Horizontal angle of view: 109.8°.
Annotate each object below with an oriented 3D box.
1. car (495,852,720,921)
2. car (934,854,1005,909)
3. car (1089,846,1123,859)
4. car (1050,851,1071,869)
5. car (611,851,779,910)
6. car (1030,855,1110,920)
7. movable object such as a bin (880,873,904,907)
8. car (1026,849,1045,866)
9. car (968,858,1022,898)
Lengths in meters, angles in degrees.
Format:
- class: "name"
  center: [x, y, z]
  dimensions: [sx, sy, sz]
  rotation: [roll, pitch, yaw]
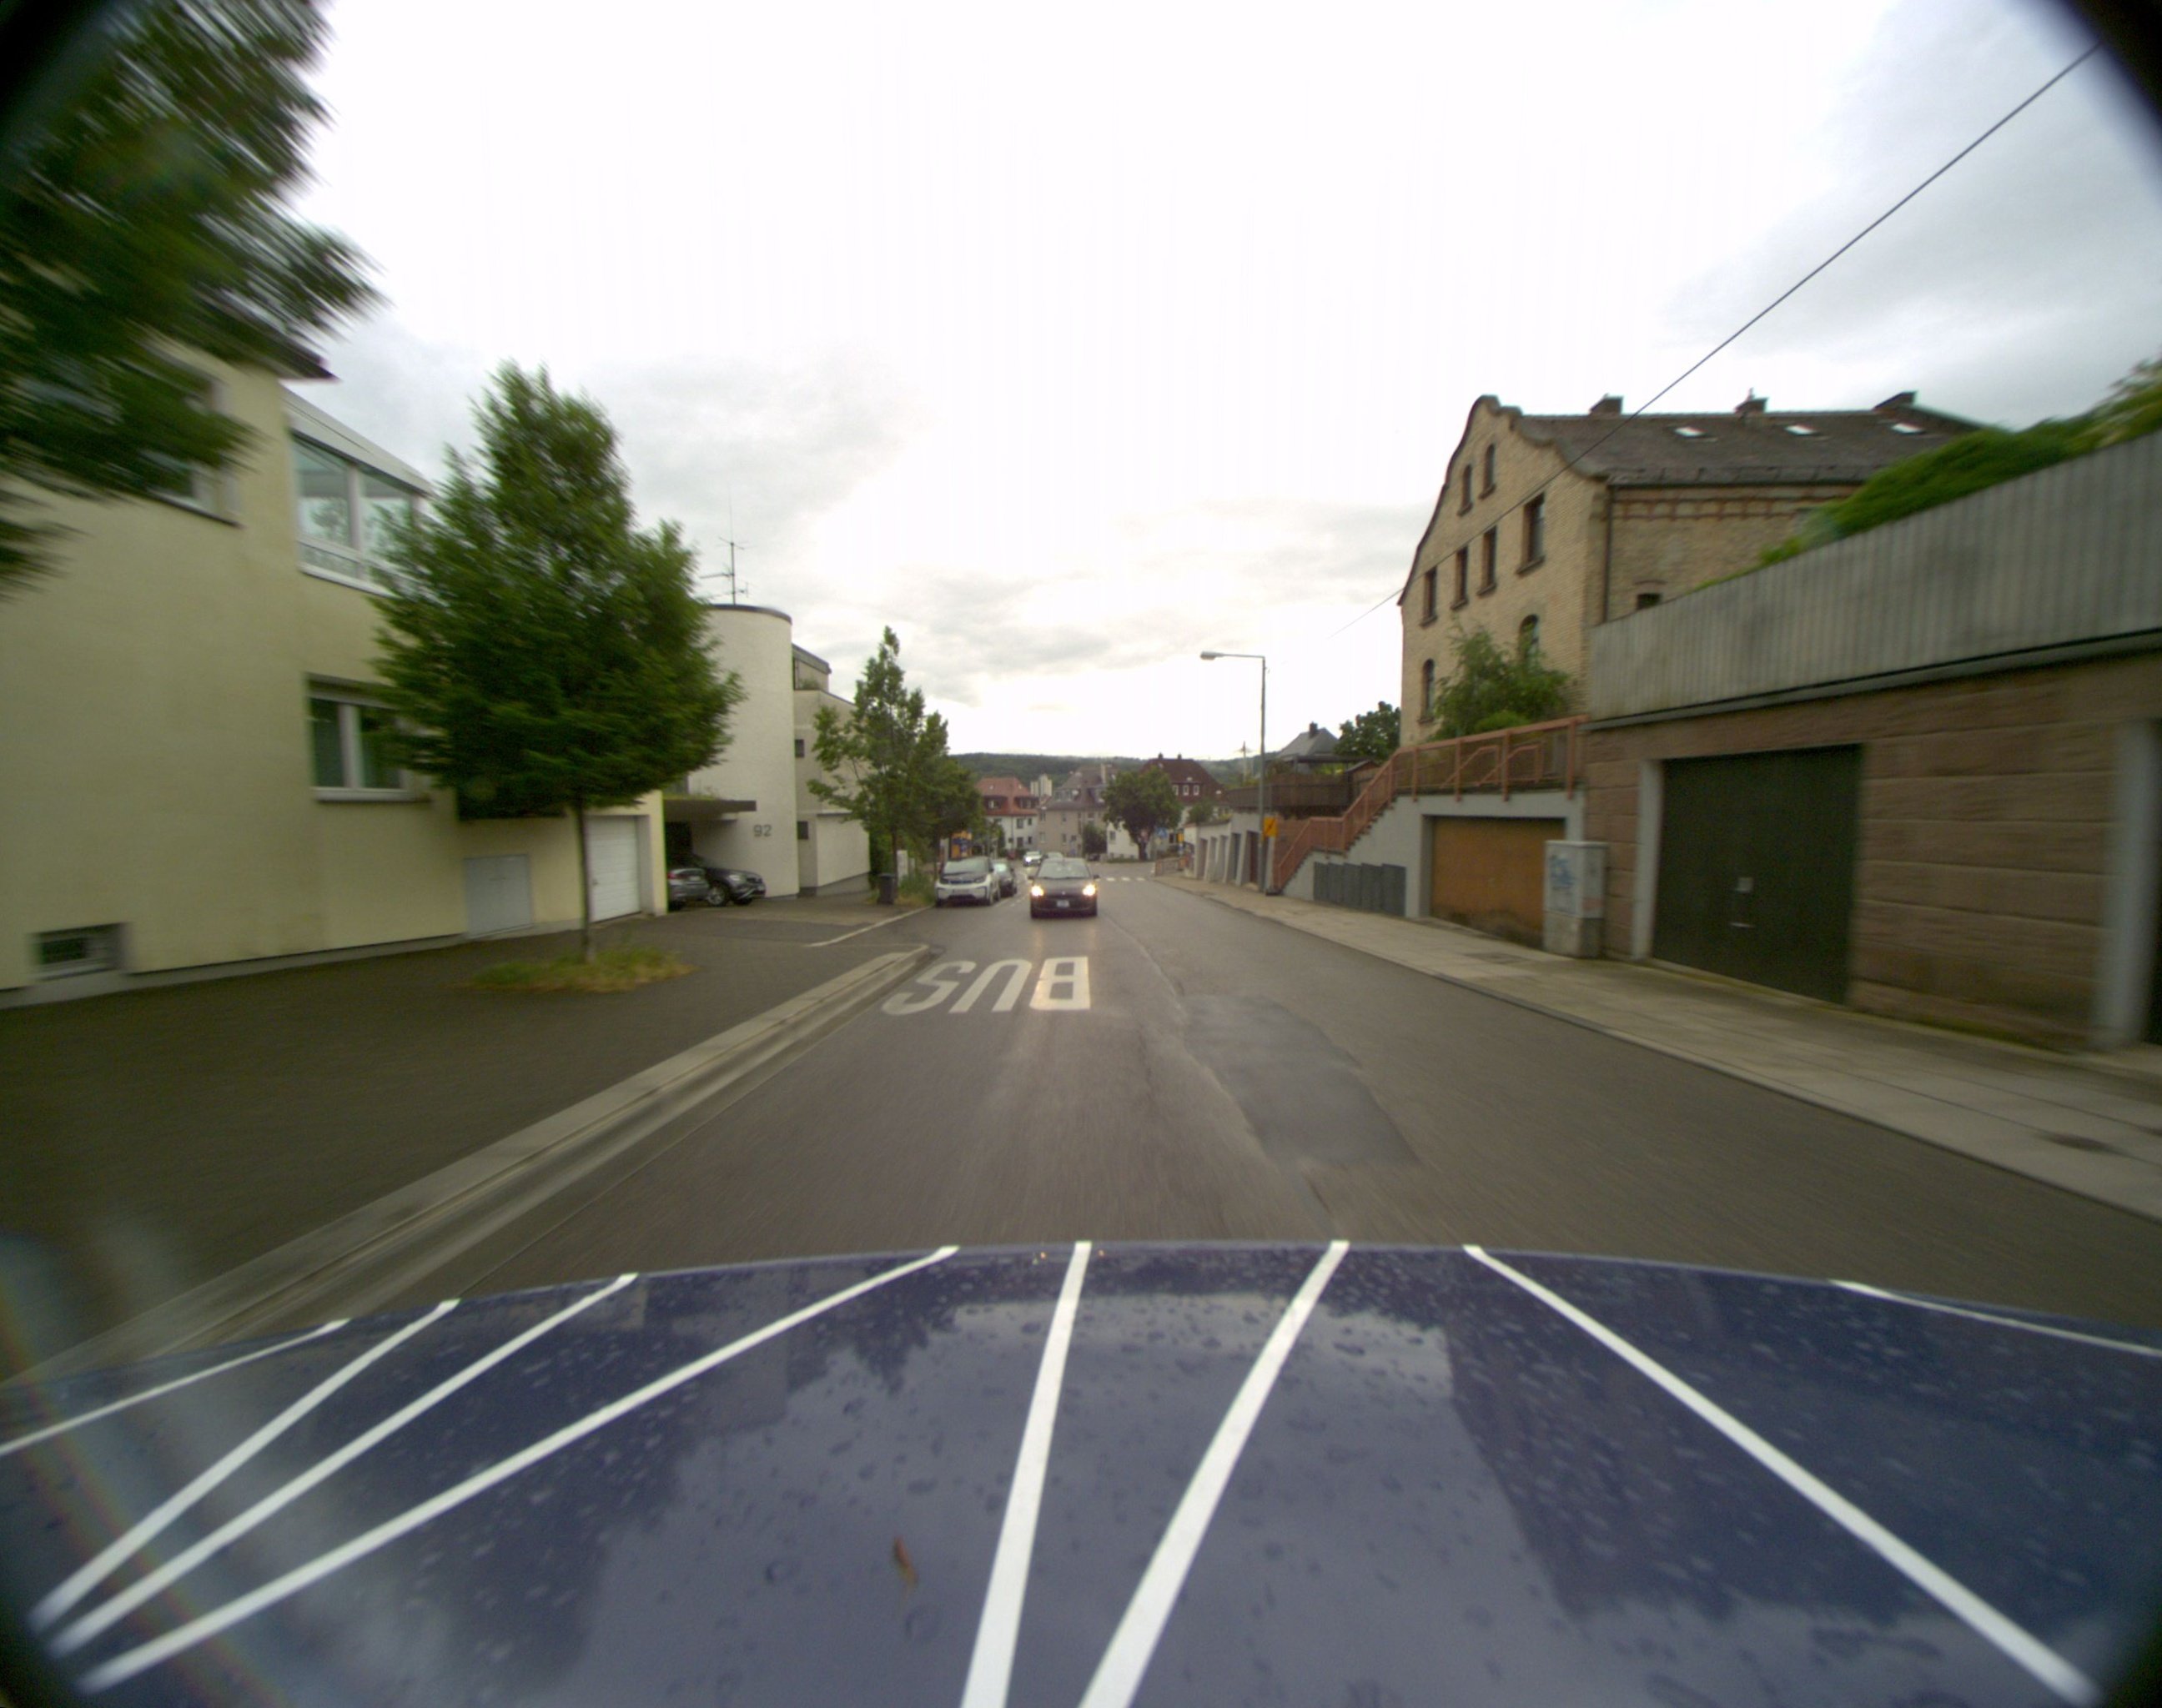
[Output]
- class: "car"
  center: [-11.428, 0.761, 18.543]
  dimensions: [4.308, 1.471, 1.830]
  rotation: [-2, 0, 1]
- class: "car"
  center: [-3.623, 0.834, 25.275]
  dimensions: [1.734, 1.598, 4.119]
  rotation: [-3, 0, -1]
- class: "car"
  center: [3.371, -0.212, 102.920]
  dimensions: [4.227, 1.663, 1.875]
  rotation: [-1, 1, -21]
- class: "car"
  center: [-1.949, 0.542, 71.425]
  dimensions: [1.857, 1.575, 3.999]
  rotation: [-1, 0, -2]
- class: "car"
  center: [-10.601, 0.721, 21.037]
  dimensions: [3.709, 1.498, 1.782]
  rotation: [-1, 0, 1]
- class: "car"
  center: [-0.273, 0.812, 20.300]
  dimensions: [1.892, 1.521, 4.056]
  rotation: [-1, 0, 0]
- class: "movable object such as a bin"
  center: [-5.797, 1.090, 23.280]
  dimensions: [0.486, 0.969, 0.605]
  rotation: [3, 1, 7]
- class: "car"
  center: [-5.173, 0.378, 85.366]
  dimensions: [2.016, 1.892, 4.092]
  rotation: [-1, 0, -5]
- class: "car"
  center: [-3.372, 0.900, 30.667]
  dimensions: [1.783, 1.430, 4.880]
  rotation: [-2, 0, -2]
